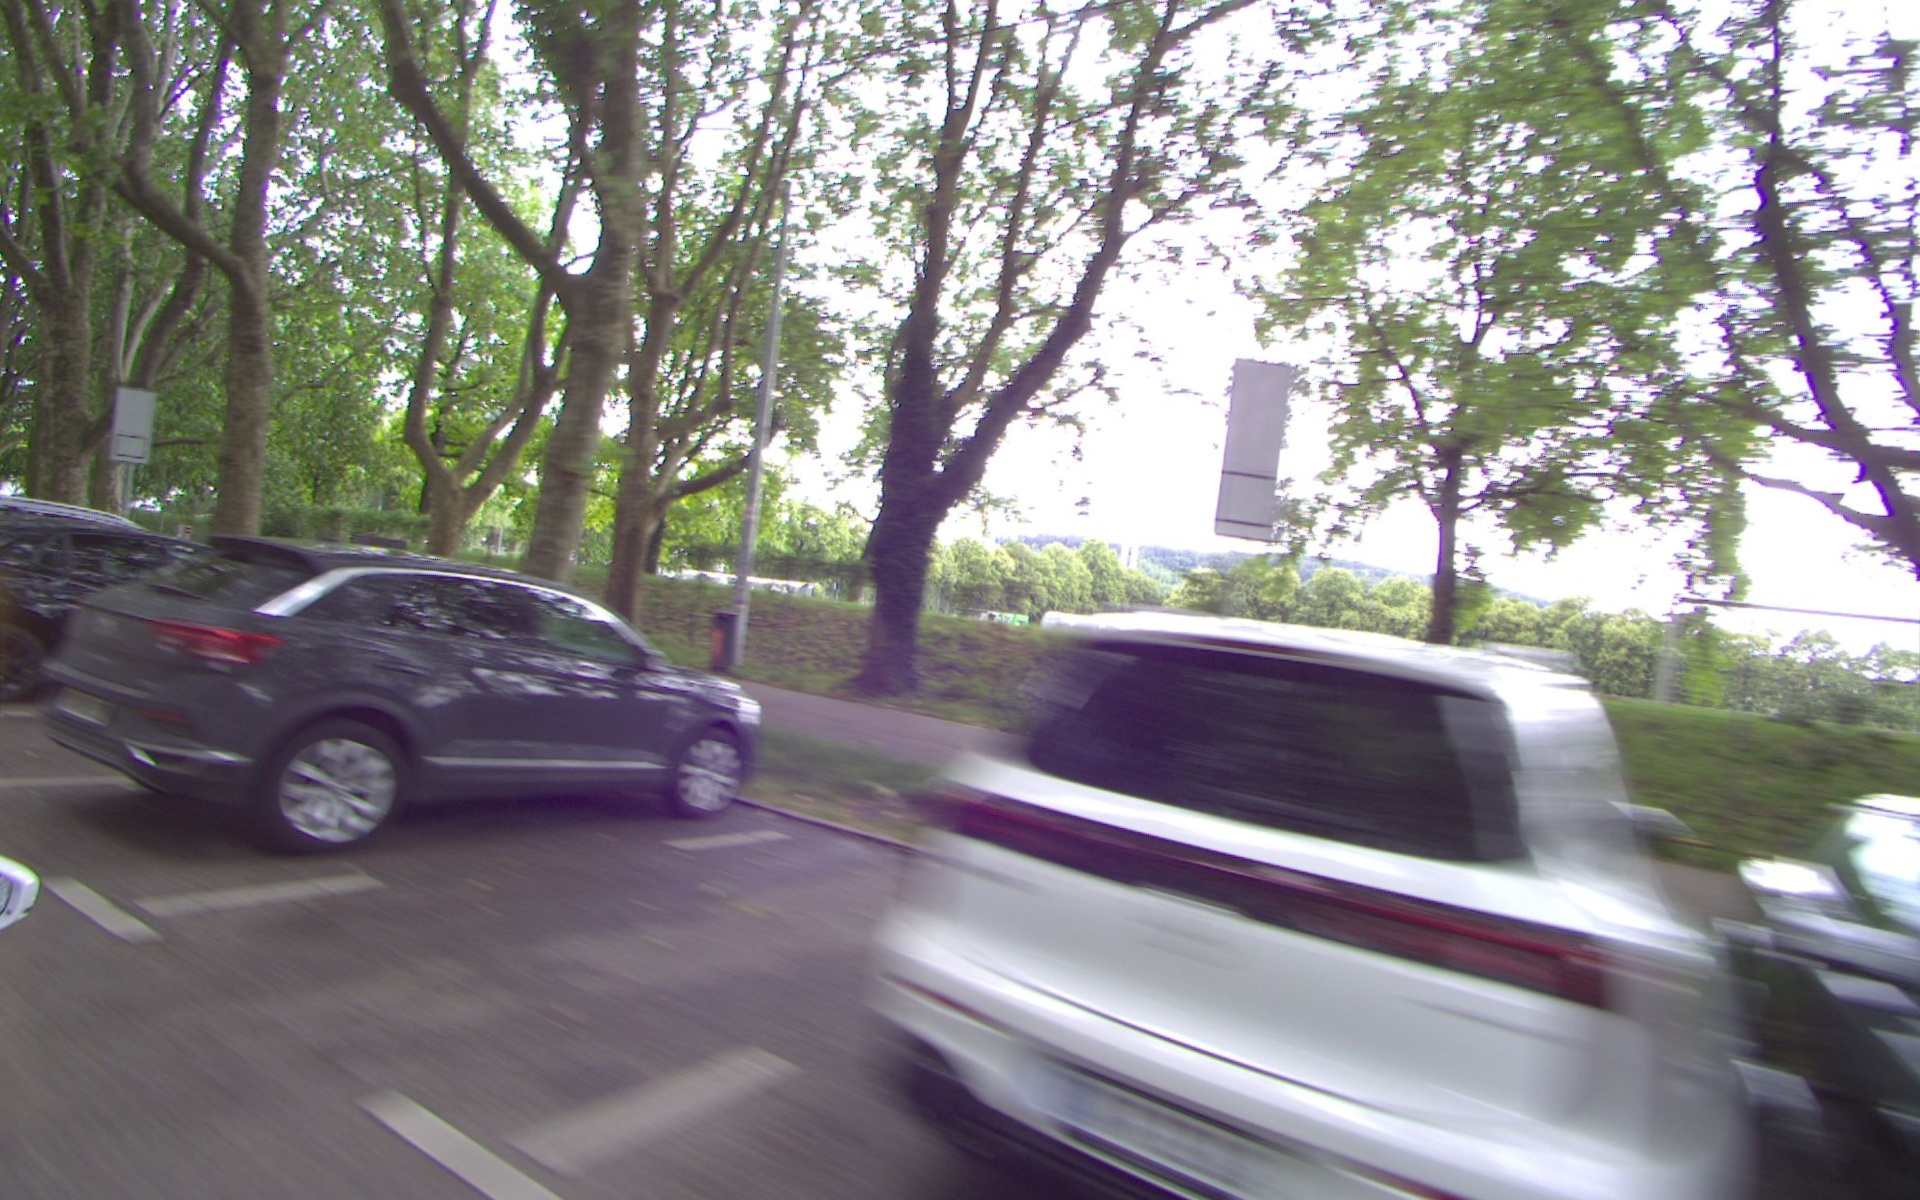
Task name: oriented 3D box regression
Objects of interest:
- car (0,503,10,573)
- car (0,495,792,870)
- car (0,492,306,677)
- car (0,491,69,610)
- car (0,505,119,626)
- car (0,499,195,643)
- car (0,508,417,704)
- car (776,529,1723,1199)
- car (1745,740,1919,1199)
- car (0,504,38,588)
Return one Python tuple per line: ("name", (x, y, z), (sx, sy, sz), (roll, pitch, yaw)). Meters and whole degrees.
("car", (-17.675, -1.147, 15.428), (1.666, 1.486, 4.122), (7, -2, 32))
("car", (-3.068, 0.506, 6.369), (1.666, 1.503, 3.997), (7, -2, 30))
("car", (-9.344, -0.201, 10.416), (1.666, 1.625, 3.836), (7, -2, 30))
("car", (-15.538, -0.984, 14.107), (1.666, 1.689, 4.122), (7, -2, 32))
("car", (-13.530, -0.658, 12.594), (1.583, 1.467, 4.222), (7, -2, 30))
("car", (-11.391, -0.469, 11.444), (1.666, 1.472, 3.836), (7, -2, 30))
("car", (-7.210, 0.071, 8.888), (1.666, 1.404, 3.836), (7, -2, 30))
("car", (1.647, 1.031, 3.777), (1.774, 1.775, 4.386), (7, -3, 38))
("car", (3.451, 1.311, 2.724), (1.673, 1.574, 4.191), (7, -2, 35))
("car", (-18.925, -1.238, 17.579), (1.597, 1.486, 3.782), (7, -2, 33))
